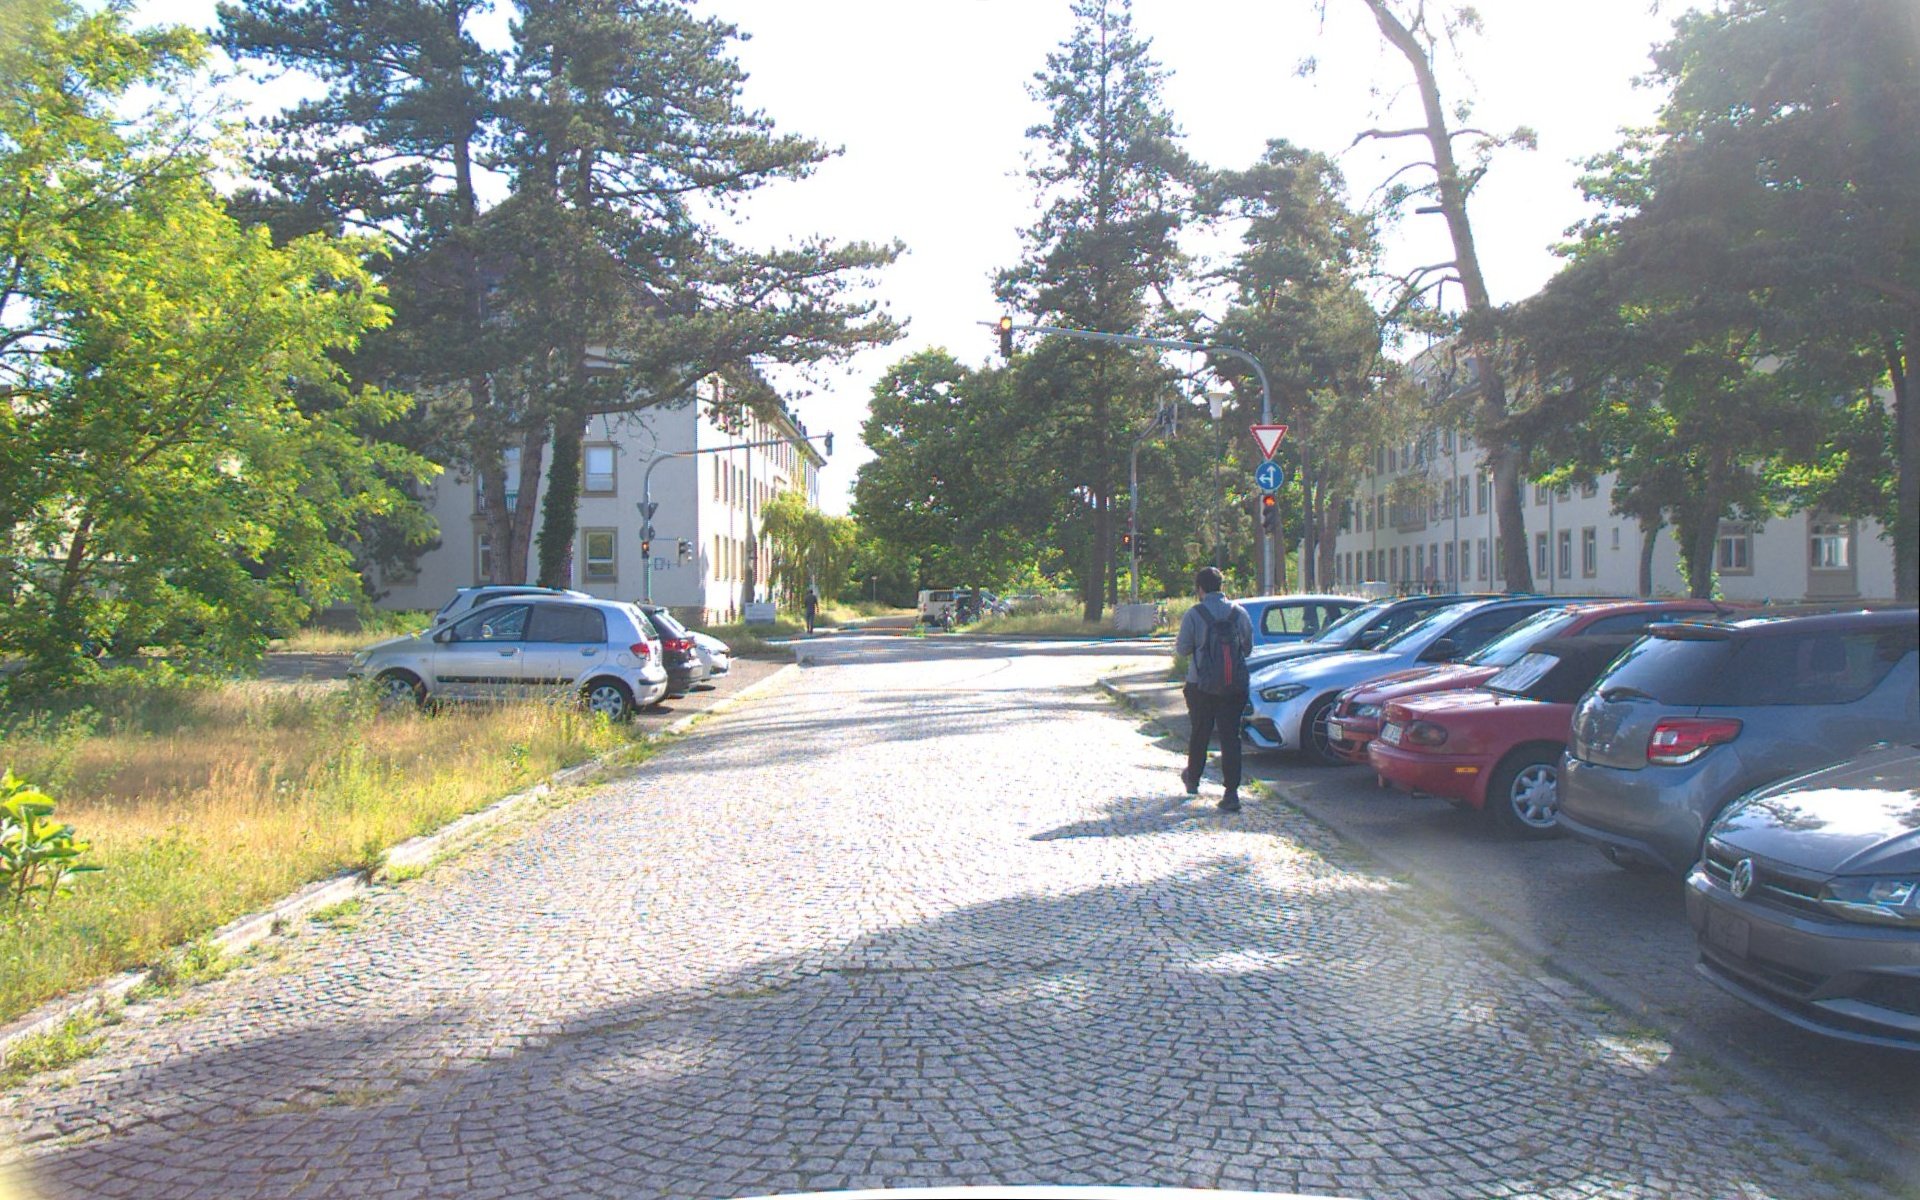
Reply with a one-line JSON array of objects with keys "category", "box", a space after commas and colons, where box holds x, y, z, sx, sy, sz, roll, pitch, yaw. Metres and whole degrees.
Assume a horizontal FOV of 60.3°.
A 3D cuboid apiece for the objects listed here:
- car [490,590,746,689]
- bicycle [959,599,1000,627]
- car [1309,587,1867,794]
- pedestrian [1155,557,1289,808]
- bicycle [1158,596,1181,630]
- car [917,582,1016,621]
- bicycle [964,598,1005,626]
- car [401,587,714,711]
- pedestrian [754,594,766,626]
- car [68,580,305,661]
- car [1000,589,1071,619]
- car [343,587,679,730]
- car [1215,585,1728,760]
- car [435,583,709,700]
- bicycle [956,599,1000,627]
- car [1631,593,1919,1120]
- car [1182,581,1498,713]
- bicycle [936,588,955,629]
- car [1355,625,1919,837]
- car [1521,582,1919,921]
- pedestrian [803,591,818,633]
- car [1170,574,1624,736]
[{"category": "car", "box": [-5.782, 0.644, 28.270, 3.903, 1.522, 1.773, 2, 0, 4]}, {"category": "bicycle", "box": [0.820, 0.548, 70.519, 1.693, 1.132, 0.484, -1, 0, -4]}, {"category": "car", "box": [4.992, 0.686, 13.493, 3.899, 1.474, 1.655, -2, 0, -1]}, {"category": "pedestrian", "box": [1.937, 0.593, 12.324, 0.738, 1.755, 0.828, 4, 0, -1]}, {"category": "bicycle", "box": [7.378, 0.443, 58.172, 0.706, 1.134, 2.586, -1, 0, 9]}, {"category": "car", "box": [0.322, 0.058, 87.873, 4.975, 1.951, 1.995, -1, 0, -10]}, {"category": "bicycle", "box": [1.043, 0.507, 71.204, 1.693, 1.185, 0.560, -1, 0, -4]}, {"category": "car", "box": [-5.450, 0.643, 22.757, 3.858, 1.470, 1.690, 3, 0, -2]}, {"category": "pedestrian", "box": [-10.131, 0.512, 83.741, 0.595, 1.587, 0.544, 0, 0, -7]}, {"category": "car", "box": [-16.411, 0.417, 35.234, 4.059, 1.636, 2.010, -1, 0, 0]}, {"category": "car", "box": [4.185, 0.198, 91.847, 3.673, 1.607, 1.738, 0, 0, -8]}, {"category": "car", "box": [-5.354, 0.682, 20.096, 3.612, 1.554, 1.698, 2, 0, -3]}, {"category": "car", "box": [4.757, 0.642, 15.794, 4.310, 1.413, 1.788, -2, 0, -2]}, {"category": "car", "box": [-5.906, 0.614, 25.492, 3.801, 1.643, 1.660, 2, 0, -2]}, {"category": "bicycle", "box": [0.760, 0.551, 69.974, 1.798, 1.132, 0.495, -1, 0, -4]}, {"category": "car", "box": [4.505, 0.691, 5.630, 3.703, 1.476, 1.758, -2, 0, 1]}, {"category": "car", "box": [4.769, 0.570, 21.088, 3.598, 1.468, 1.665, -2, 0, -1]}, {"category": "bicycle", "box": [-0.592, 0.327, 66.494, 0.738, 1.608, 2.536, 0, 0, -1]}, {"category": "car", "box": [4.530, 0.828, 11.097, 3.390, 1.264, 1.536, 0, 0, 0]}, {"category": "car", "box": [4.997, 0.666, 8.533, 3.589, 1.480, 1.666, -3, 0, -1]}, {"category": "pedestrian", "box": [-6.378, 0.506, 70.406, 0.594, 1.783, 0.630, 0, 0, -1]}, {"category": "car", "box": [4.789, 0.577, 18.551, 4.528, 1.481, 1.869, -3, 0, -3]}]
